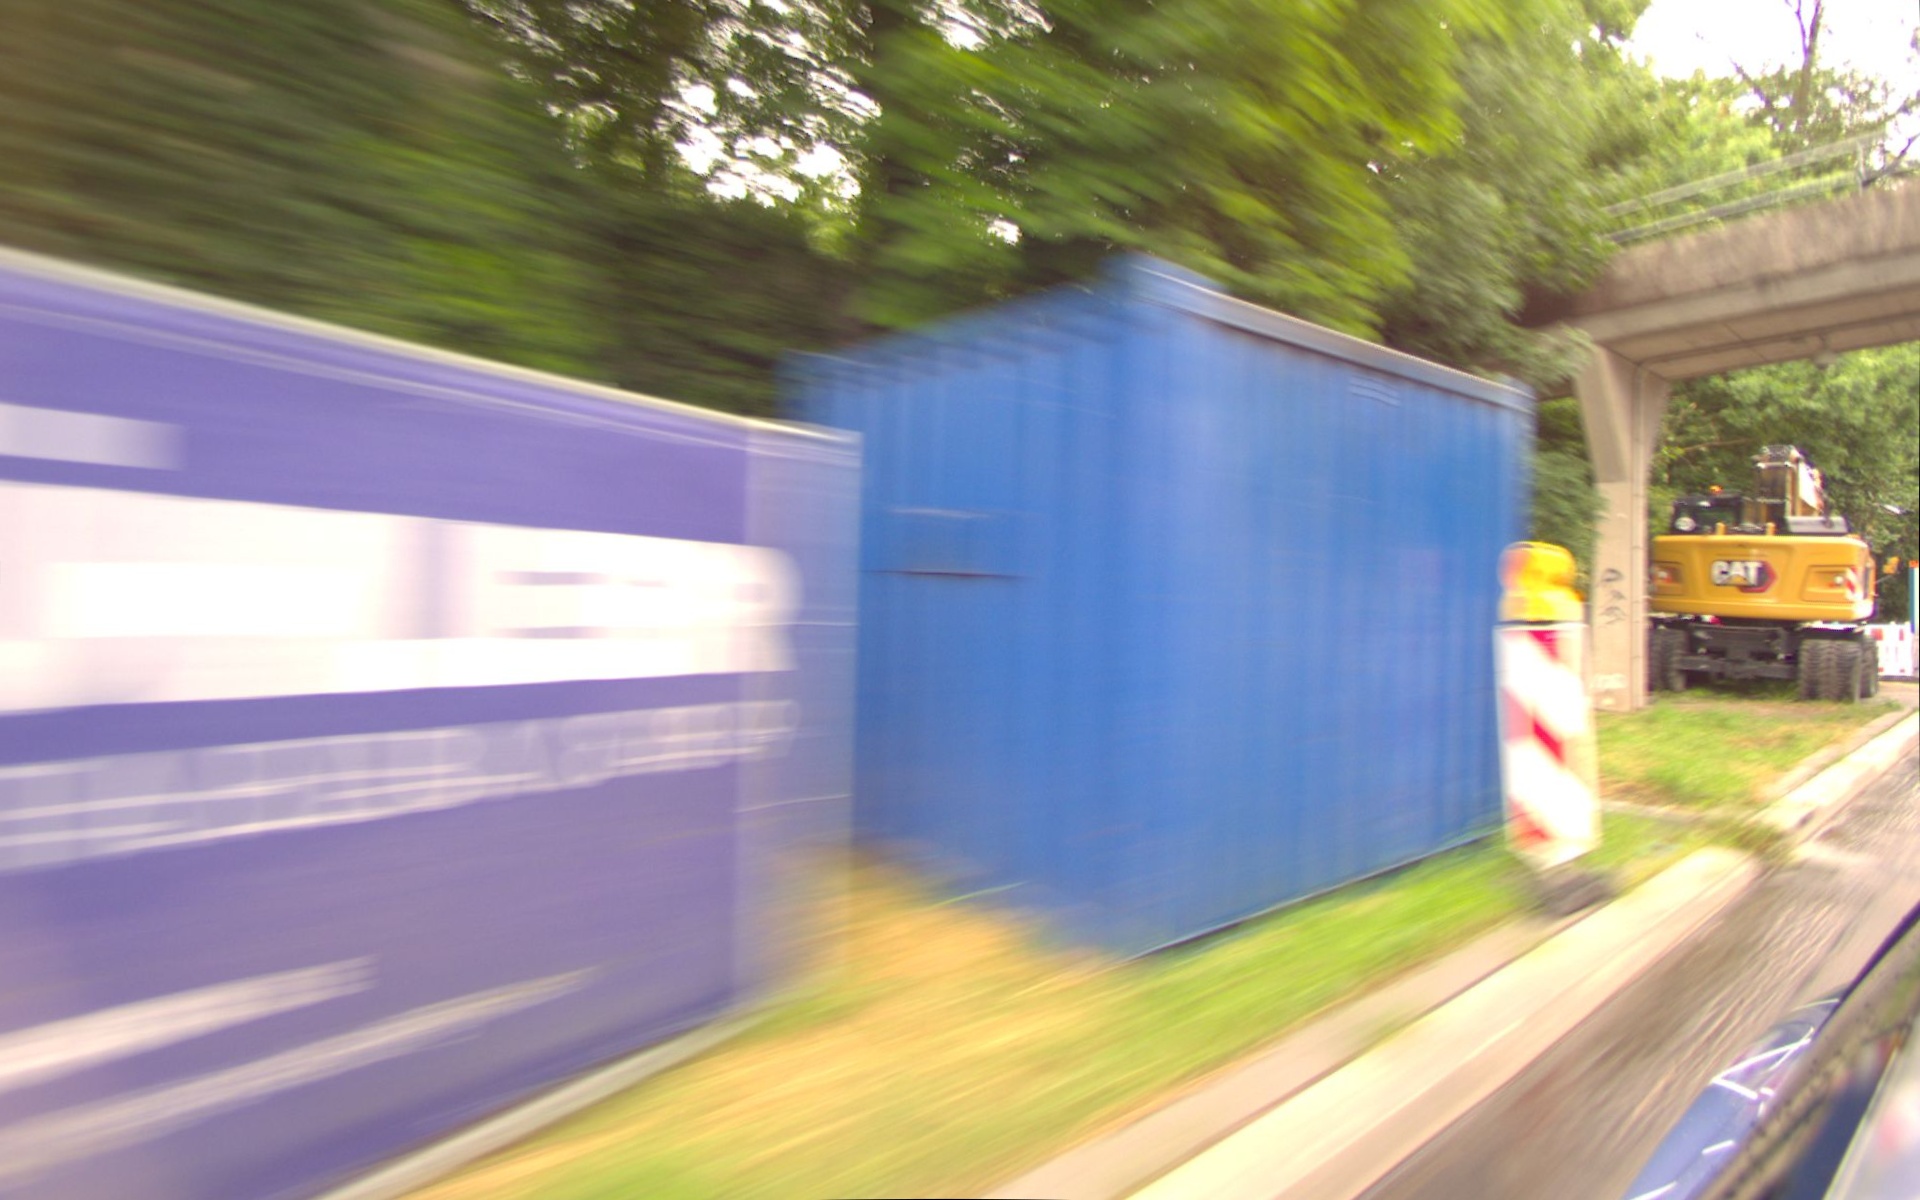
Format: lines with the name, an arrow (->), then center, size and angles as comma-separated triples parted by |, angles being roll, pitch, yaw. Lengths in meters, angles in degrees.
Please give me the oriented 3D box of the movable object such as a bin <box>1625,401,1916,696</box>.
movable object such as a bin -> 13.600, -0.732, 16.809 | 6.002, 3.990, 2.885 | -1, 0, -43
